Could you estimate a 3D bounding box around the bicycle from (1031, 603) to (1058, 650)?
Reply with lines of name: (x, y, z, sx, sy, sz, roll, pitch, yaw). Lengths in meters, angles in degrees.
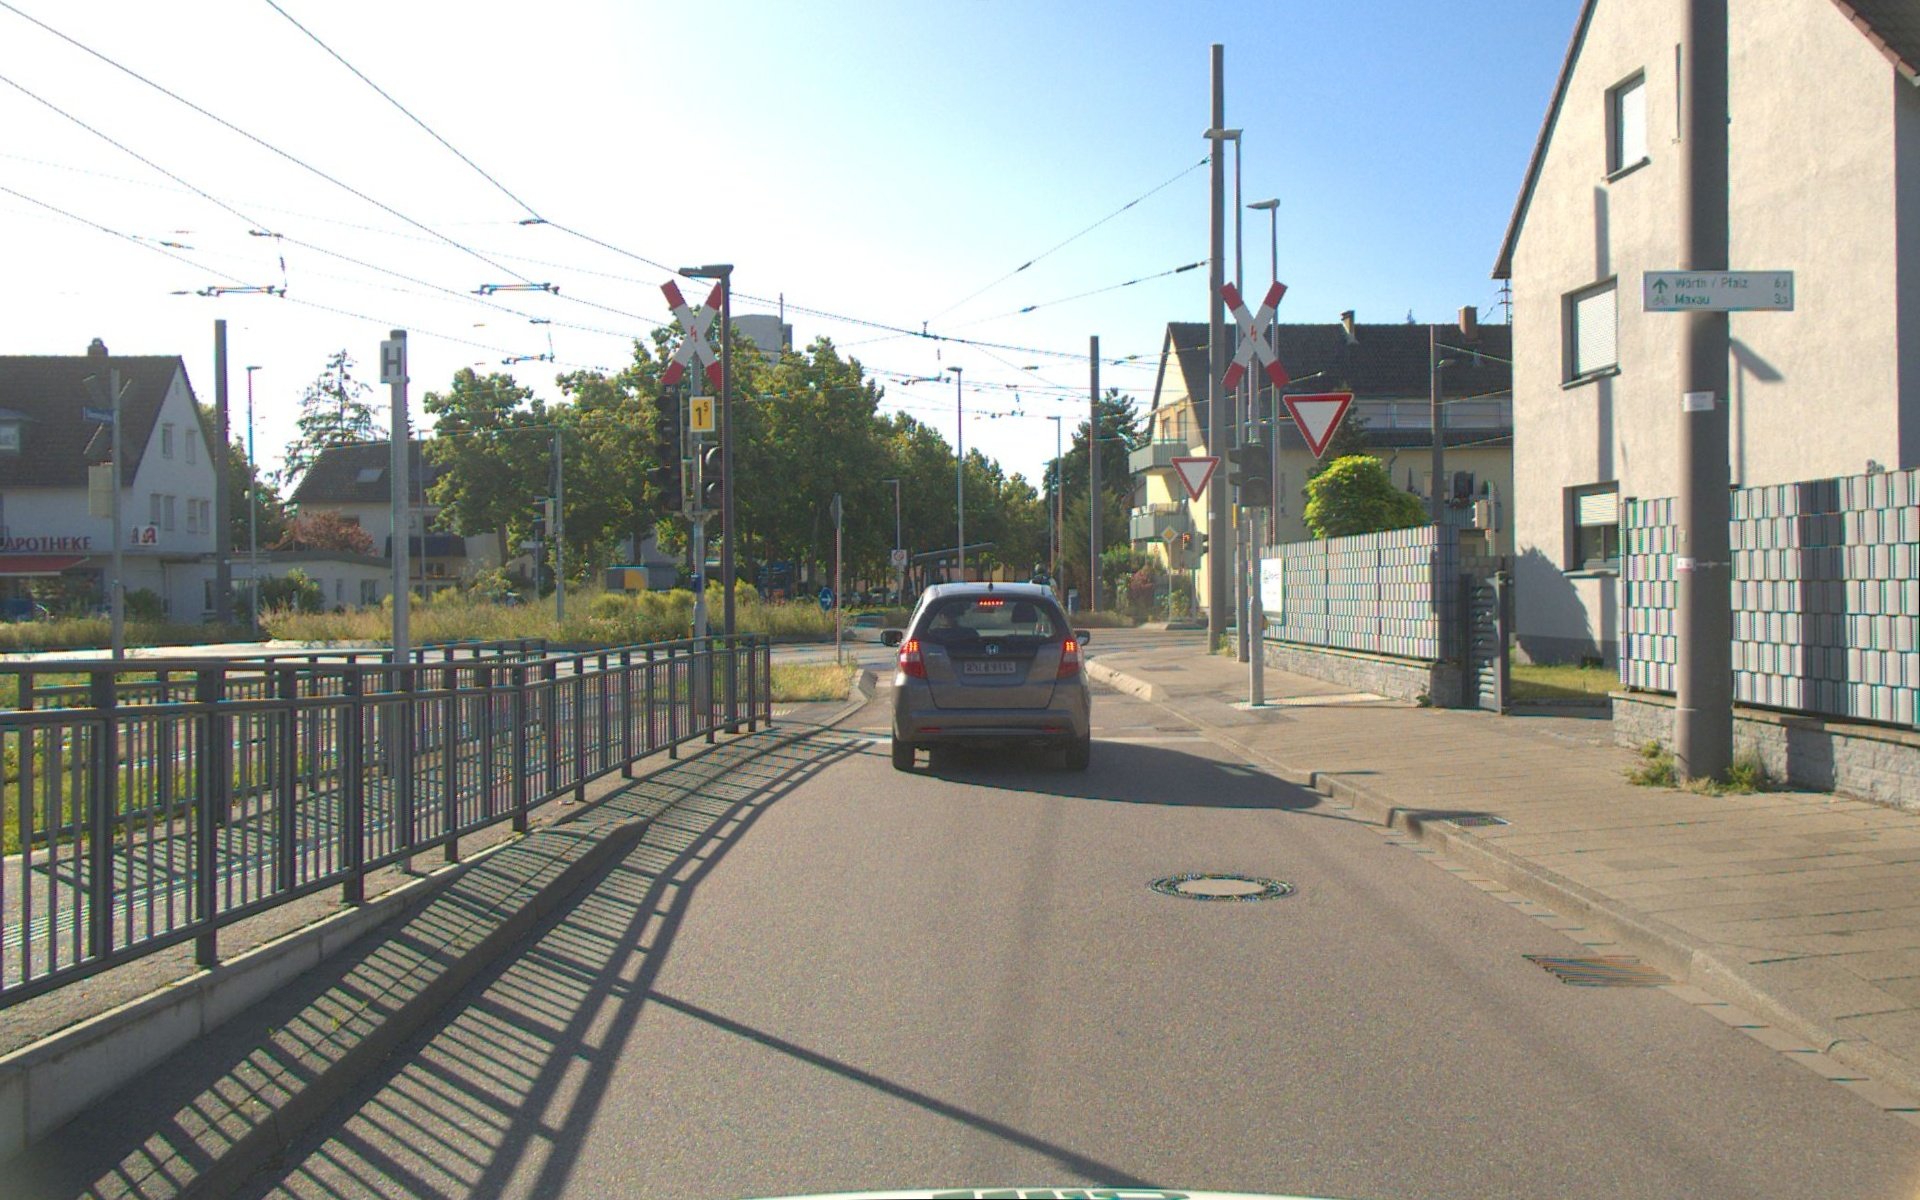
bicycle: (1.809, 0.564, 35.574, 0.465, 0.978, 1.656, 1, 0, -1)

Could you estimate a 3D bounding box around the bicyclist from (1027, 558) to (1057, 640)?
bicyclist: (1.742, -0.020, 35.262, 0.586, 1.731, 0.683, 1, 0, -1)

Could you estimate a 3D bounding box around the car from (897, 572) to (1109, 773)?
car: (0.273, 0.556, 14.673, 1.637, 1.562, 3.485, 0, 0, -2)
